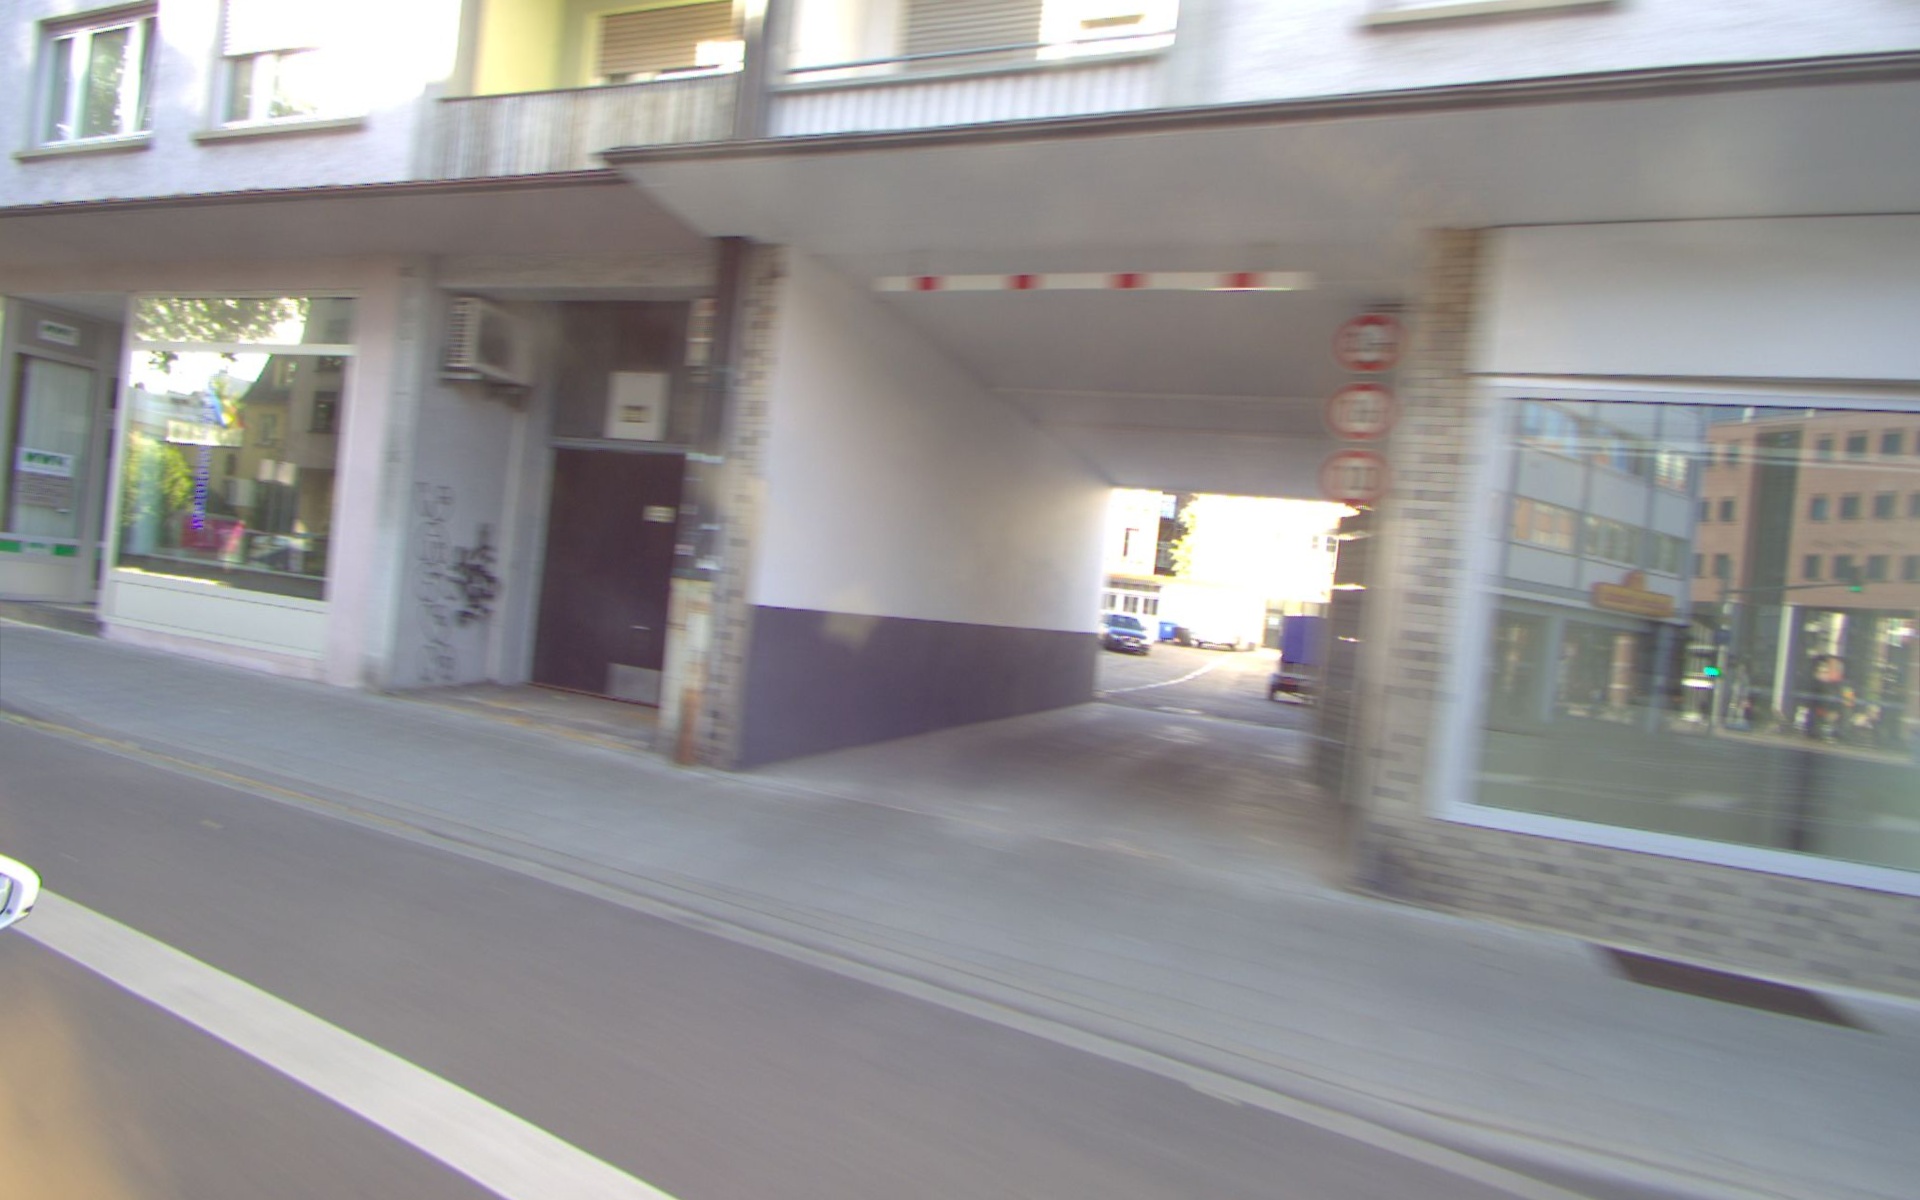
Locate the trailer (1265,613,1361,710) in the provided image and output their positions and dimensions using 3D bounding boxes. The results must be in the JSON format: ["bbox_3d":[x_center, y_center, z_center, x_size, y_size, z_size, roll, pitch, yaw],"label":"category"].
[{"bbox_3d":[9.486,1.692,27.320,1.962,2.203,4.005,7,-2,16],"label":"trailer"}]

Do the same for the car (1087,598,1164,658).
[{"bbox_3d":[6.572,1.141,40.453,1.964,2.036,4.001,8,-2,-3],"label":"car"}]
